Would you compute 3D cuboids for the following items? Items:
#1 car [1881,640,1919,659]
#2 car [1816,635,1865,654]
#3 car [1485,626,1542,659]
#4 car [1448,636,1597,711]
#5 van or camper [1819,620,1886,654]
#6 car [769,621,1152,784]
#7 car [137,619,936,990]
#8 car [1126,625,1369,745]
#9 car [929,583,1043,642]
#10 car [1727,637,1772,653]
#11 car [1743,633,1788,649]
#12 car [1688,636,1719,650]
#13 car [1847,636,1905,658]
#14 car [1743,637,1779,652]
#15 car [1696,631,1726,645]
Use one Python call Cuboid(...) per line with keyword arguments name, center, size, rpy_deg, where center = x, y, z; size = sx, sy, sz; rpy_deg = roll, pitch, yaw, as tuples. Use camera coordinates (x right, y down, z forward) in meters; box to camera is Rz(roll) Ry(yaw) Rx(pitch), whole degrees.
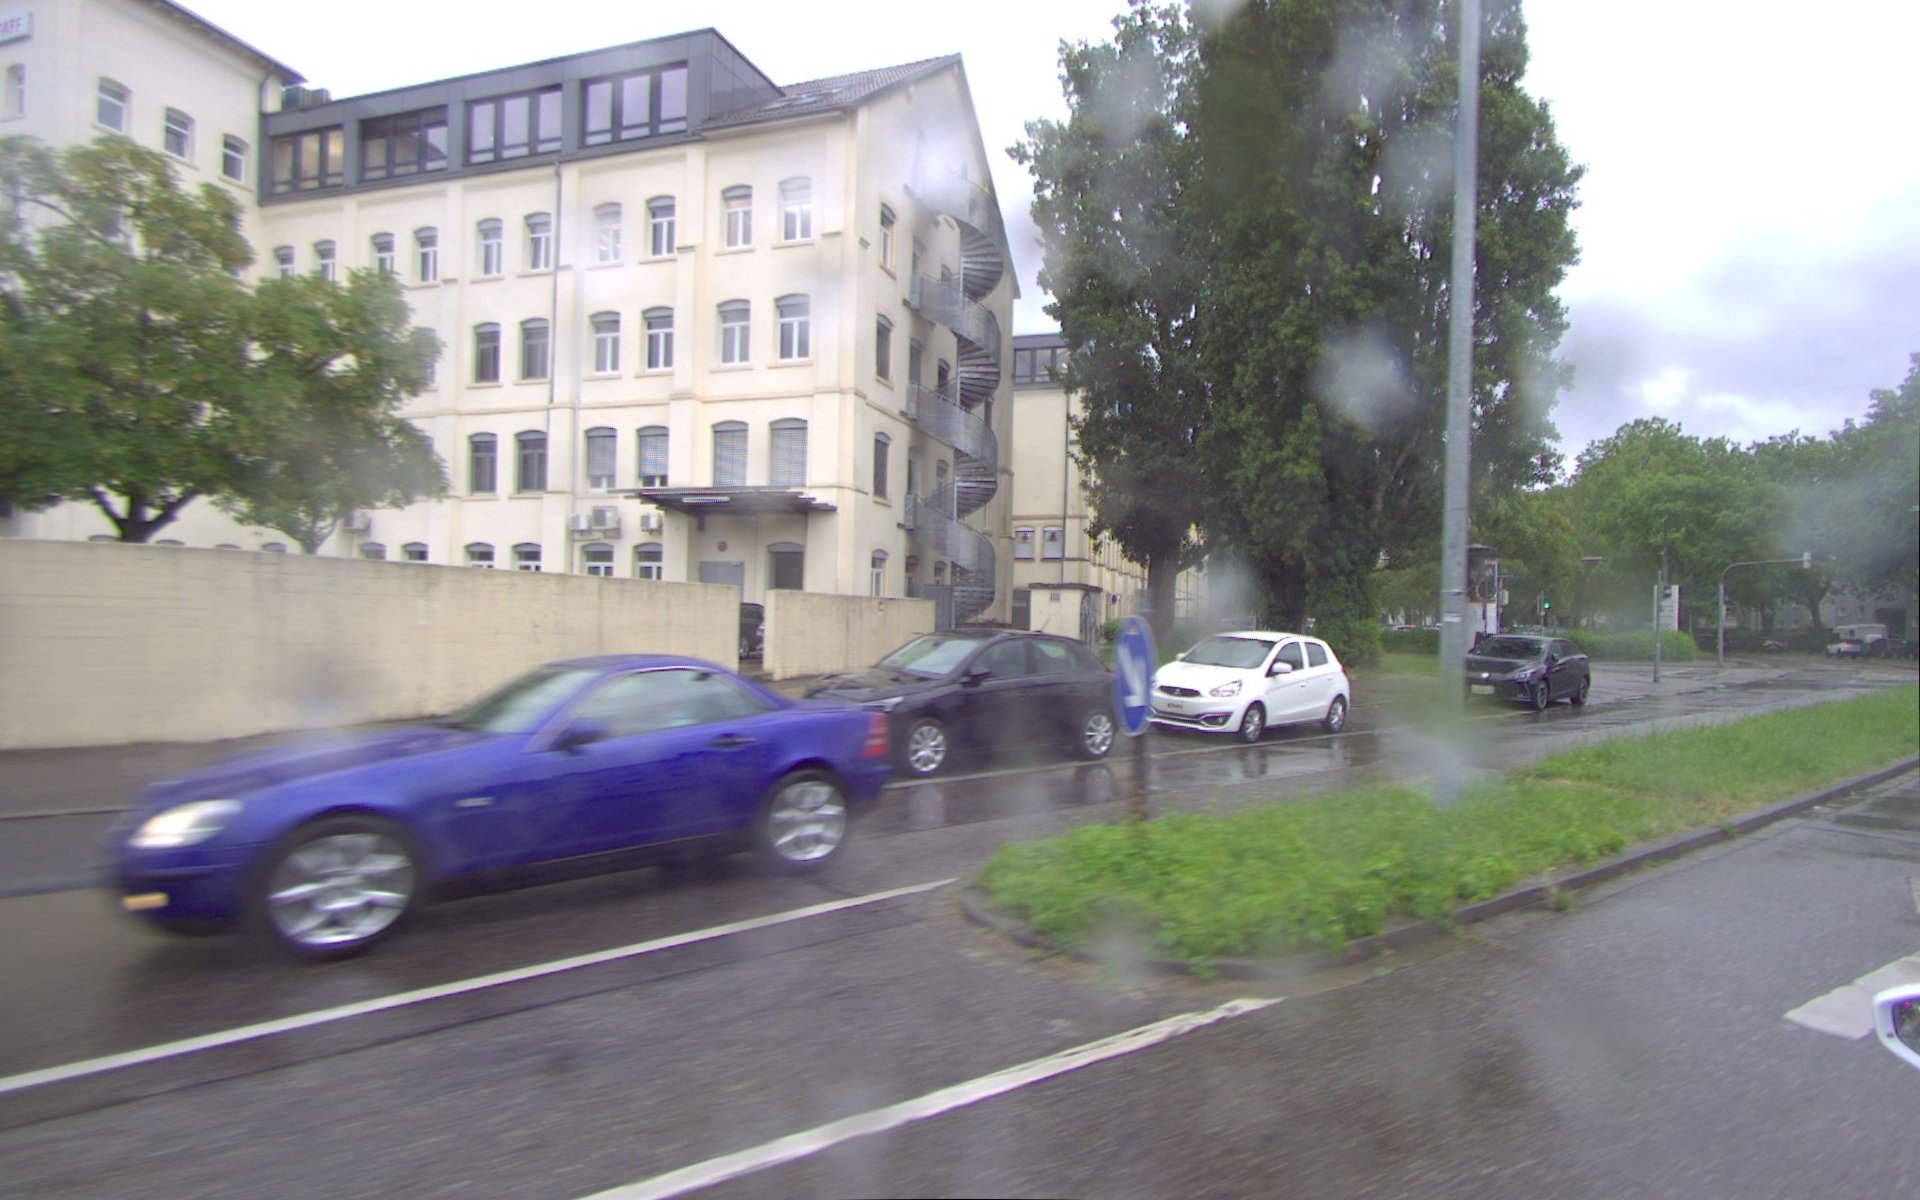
Cuboid(name="car", center=(72.897, 3.807, 77.420), size=(1.524, 1.408, 4.147), rpy_deg=(2, -1, 23))
Cuboid(name="car", center=(69.686, 3.529, 79.556), size=(1.678, 1.430, 3.644), rpy_deg=(-1, -2, 21))
Cuboid(name="car", center=(30.034, 2.268, 54.586), size=(1.746, 1.708, 4.027), rpy_deg=(1, -1, 15))
Cuboid(name="car", center=(12.325, 1.556, 21.903), size=(4.163, 1.416, 1.530), rpy_deg=(3, 0, -42))
Cuboid(name="van or camper", center=(79.307, 3.290, 89.395), size=(2.281, 2.844, 6.862), rpy_deg=(2, -1, 23))
Cuboid(name="car", center=(0.143, 1.029, 11.230), size=(4.148, 1.401, 1.711), rpy_deg=(3, 1, -41))
Cuboid(name="car", center=(-2.177, 0.887, 5.803), size=(3.920, 1.411, 1.712), rpy_deg=(3, -4, -41))
Cuboid(name="car", center=(4.389, 1.189, 15.002), size=(4.093, 1.493, 1.587), rpy_deg=(3, -1, -43))
Cuboid(name="car", center=(1.575, 0.733, 59.739), size=(6.093, 3.236, 2.839), rpy_deg=(2, -1, 19))
Cuboid(name="car", center=(89.151, 5.055, 113.395), size=(3.795, 1.720, 1.836), rpy_deg=(-1, 0, -7))
Cuboid(name="car", center=(88.168, 4.478, 110.009), size=(3.700, 1.622, 1.800), rpy_deg=(2, -1, -9))
Cuboid(name="car", center=(92.498, 5.315, 124.951), size=(1.884, 1.641, 4.371), rpy_deg=(2, -1, 20))
Cuboid(name="car", center=(74.531, 3.814, 81.775), size=(1.884, 1.641, 4.455), rpy_deg=(2, -2, 20))
Cuboid(name="car", center=(77.906, 4.317, 97.745), size=(1.678, 1.430, 3.644), rpy_deg=(-1, -2, 21))
Cuboid(name="car", center=(83.542, 4.215, 111.727), size=(1.678, 1.430, 3.644), rpy_deg=(-1, -2, 21))
